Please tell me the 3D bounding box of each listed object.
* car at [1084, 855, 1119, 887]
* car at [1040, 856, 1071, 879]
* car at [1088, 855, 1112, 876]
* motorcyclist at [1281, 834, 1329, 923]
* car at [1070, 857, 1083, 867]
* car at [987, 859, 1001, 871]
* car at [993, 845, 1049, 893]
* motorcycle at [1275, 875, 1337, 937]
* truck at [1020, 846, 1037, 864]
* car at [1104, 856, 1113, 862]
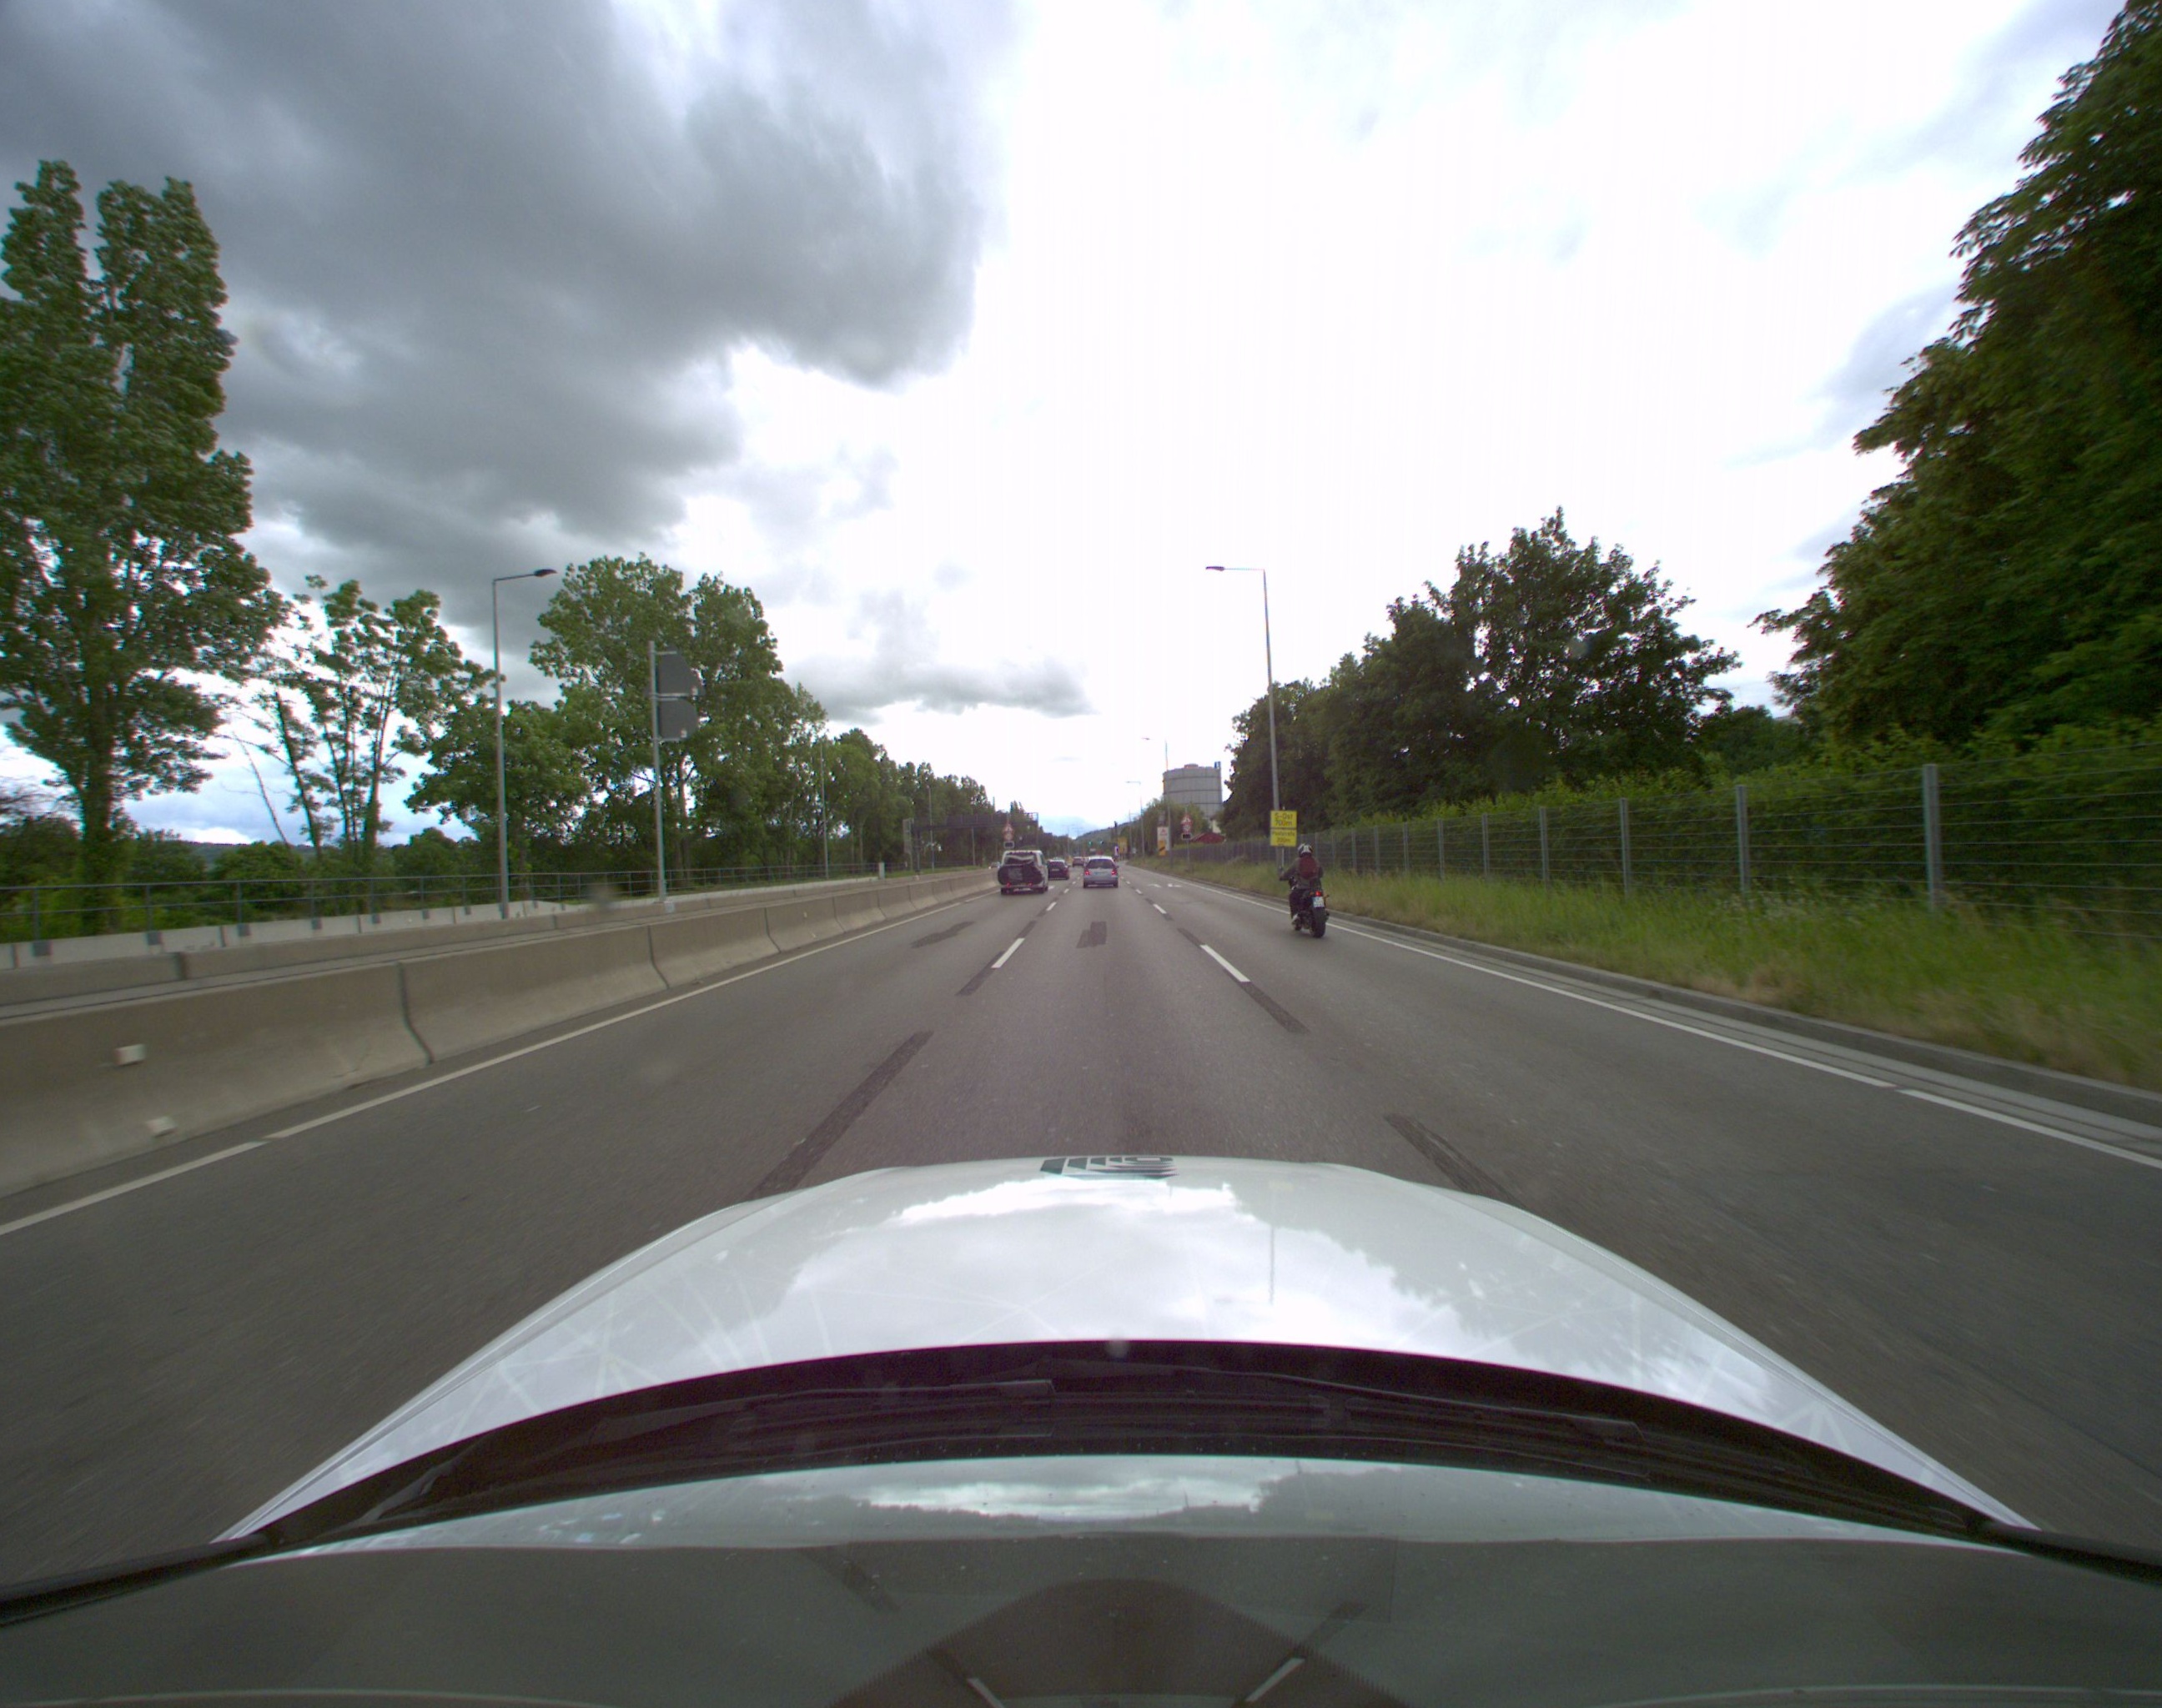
[{"bbox_3d":[1.023,0.833,41.832,1.704,1.530,4.000,0,0,1],"label":"car"},{"bbox_3d":[-1.780,0.931,57.979,1.987,1.552,4.000,0,0,0],"label":"car"},{"bbox_3d":[1.583,0.898,67.594,1.901,1.684,4.001,0,0,1],"label":"car"},{"bbox_3d":[4.147,0.440,15.122,0.682,1.610,0.846,0,-1,3],"label":"motorcyclist"},{"bbox_3d":[-0.644,1.288,129.488,1.987,1.552,3.999,0,0,0],"label":"car"},{"bbox_3d":[-14.914,1.914,140.011,1.987,2.014,3.999,0,0,0],"label":"car"},{"bbox_3d":[-2.522,0.632,35.635,2.209,1.926,4.999,0,0,-2],"label":"car"},{"bbox_3d":[4.162,0.938,15.219,0.703,1.040,2.028,0,0,3],"label":"motorcycle"},{"bbox_3d":[-9.381,0.244,145.424,2.396,3.107,7.201,0,0,0],"label":"truck"},{"bbox_3d":[6.570,1.228,193.484,1.987,1.552,3.999,0,0,0],"label":"car"}]
